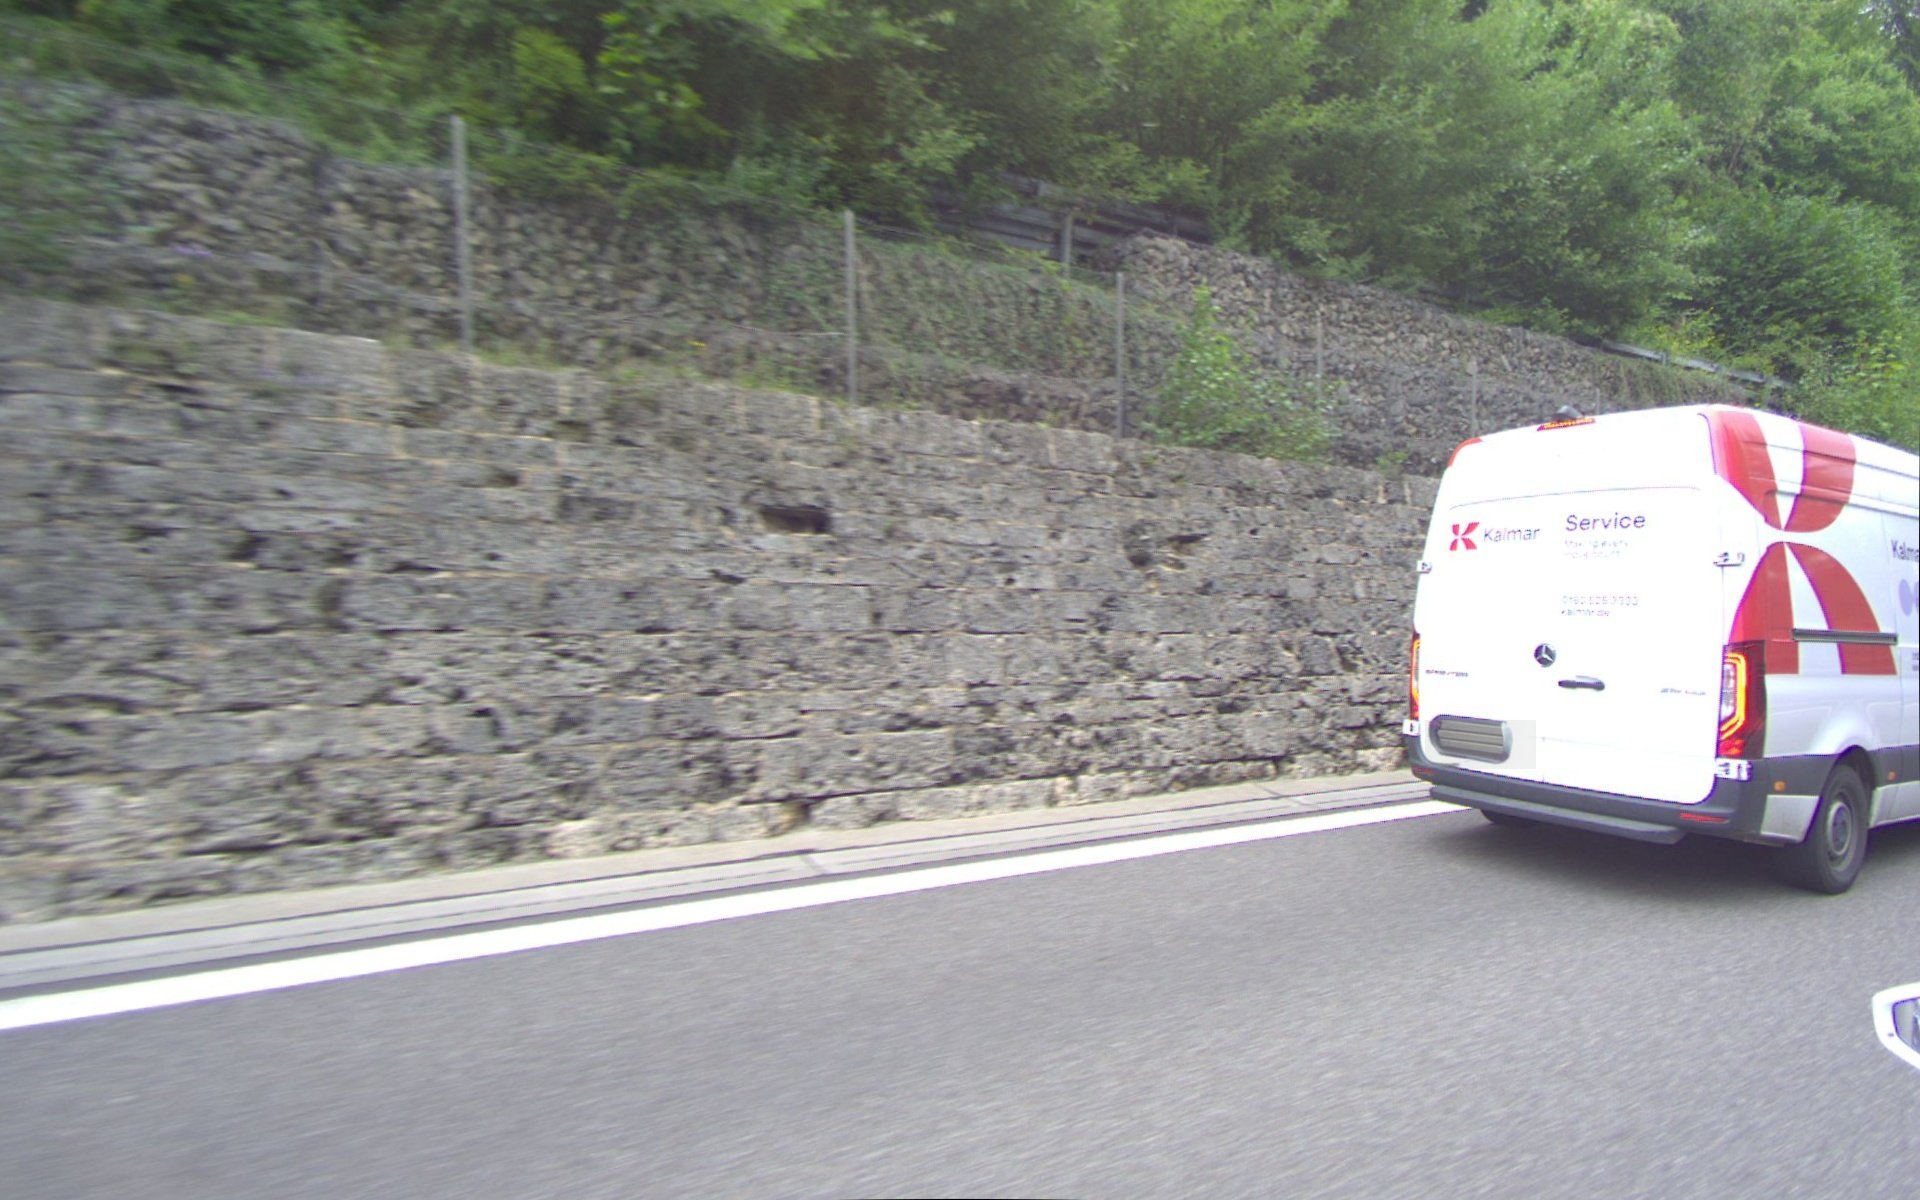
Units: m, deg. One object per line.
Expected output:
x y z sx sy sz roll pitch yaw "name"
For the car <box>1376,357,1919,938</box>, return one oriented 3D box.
5.771 0.301 7.018 6.203 2.619 2.016 2 -1 -31 "car"
